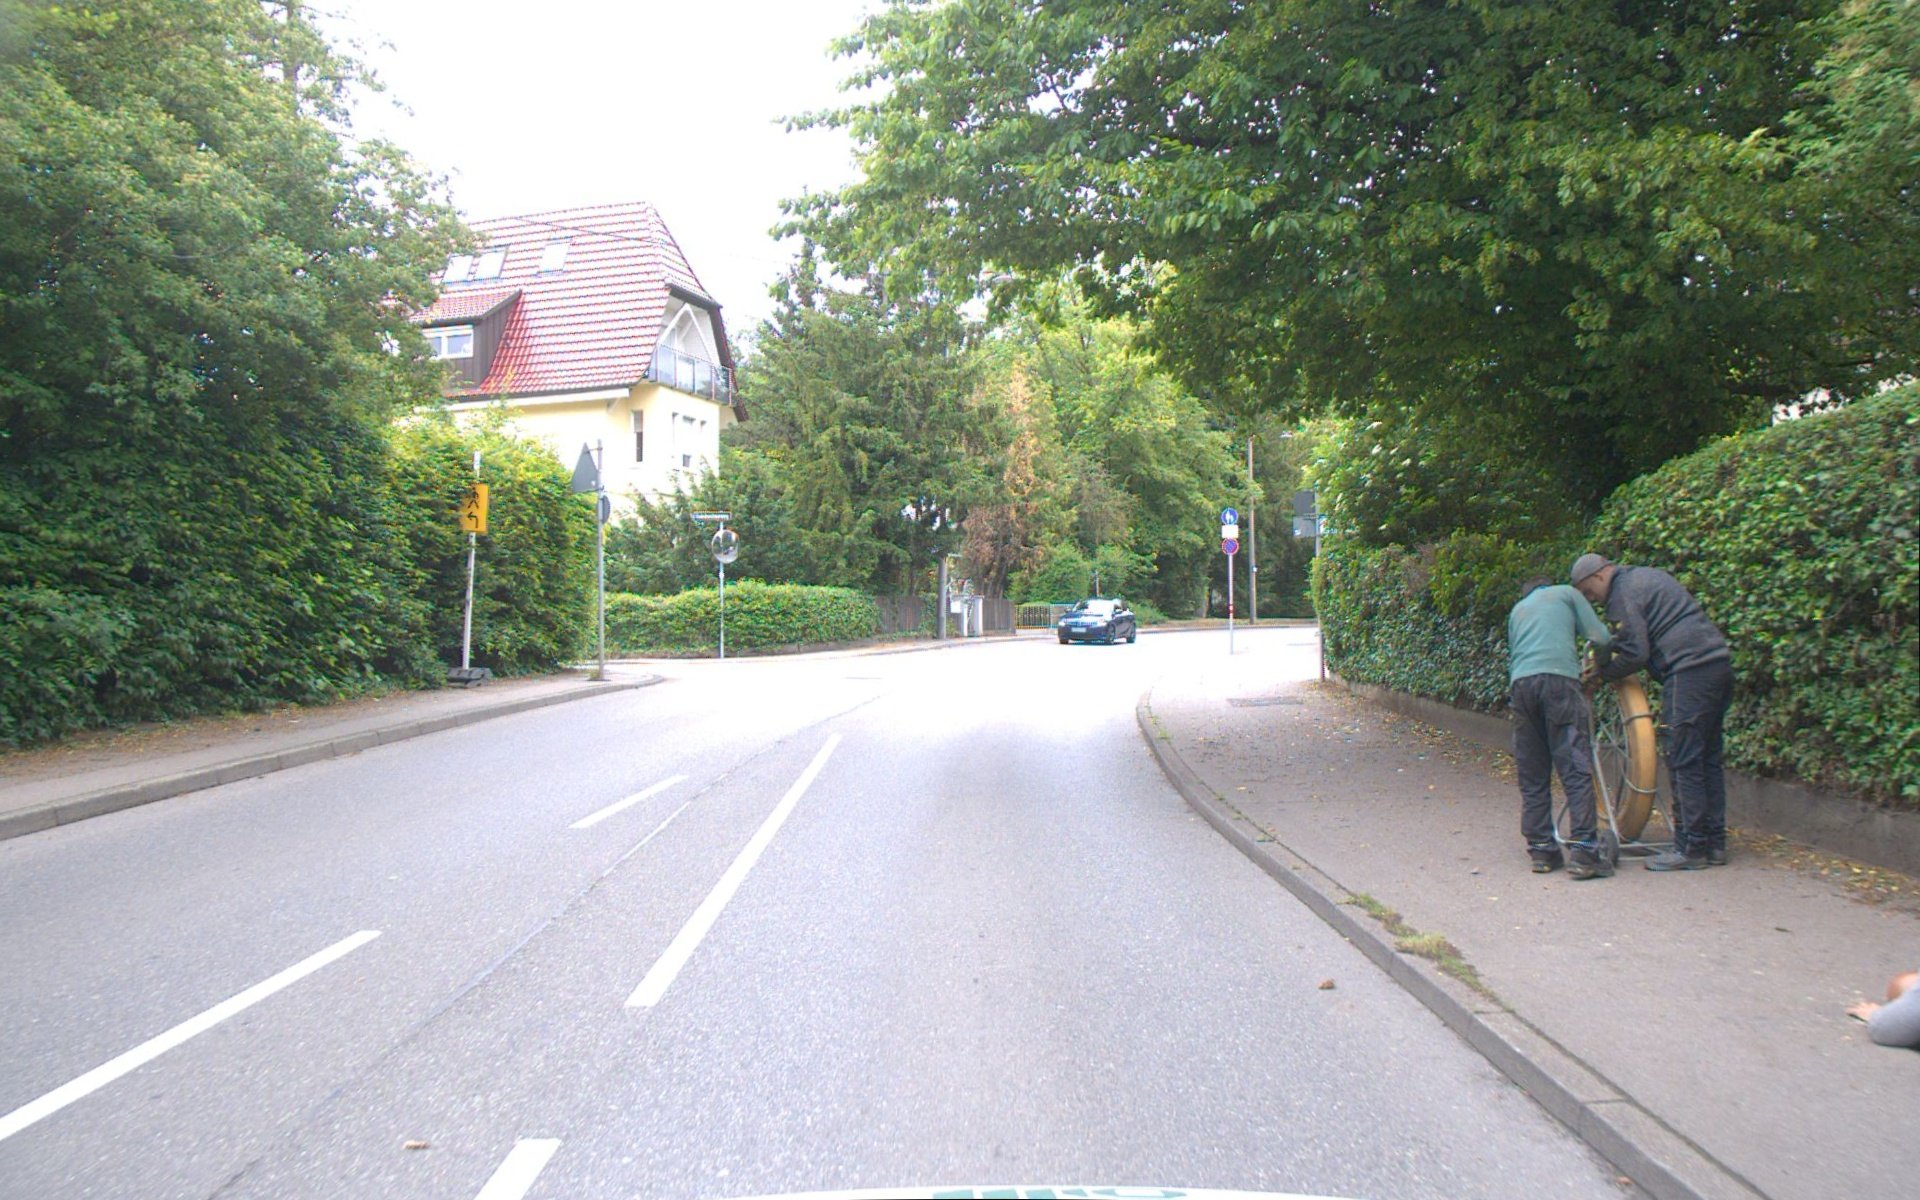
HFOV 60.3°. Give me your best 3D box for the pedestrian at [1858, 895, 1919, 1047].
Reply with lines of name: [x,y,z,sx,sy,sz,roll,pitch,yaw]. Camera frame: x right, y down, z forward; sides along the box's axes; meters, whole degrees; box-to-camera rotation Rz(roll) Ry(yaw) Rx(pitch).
pedestrian: [3.252,1.158,5.007,0.658,0.400,0.741,-1,0,-1]

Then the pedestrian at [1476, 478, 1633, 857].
pedestrian: [3.023,0.328,8.409,0.591,1.839,0.516,-1,0,40]

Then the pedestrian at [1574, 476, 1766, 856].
pedestrian: [3.644,0.318,8.492,0.685,1.839,0.663,0,0,-41]

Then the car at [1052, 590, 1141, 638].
car: [4.371,0.423,52.314,1.721,1.464,4.093,1,0,21]
